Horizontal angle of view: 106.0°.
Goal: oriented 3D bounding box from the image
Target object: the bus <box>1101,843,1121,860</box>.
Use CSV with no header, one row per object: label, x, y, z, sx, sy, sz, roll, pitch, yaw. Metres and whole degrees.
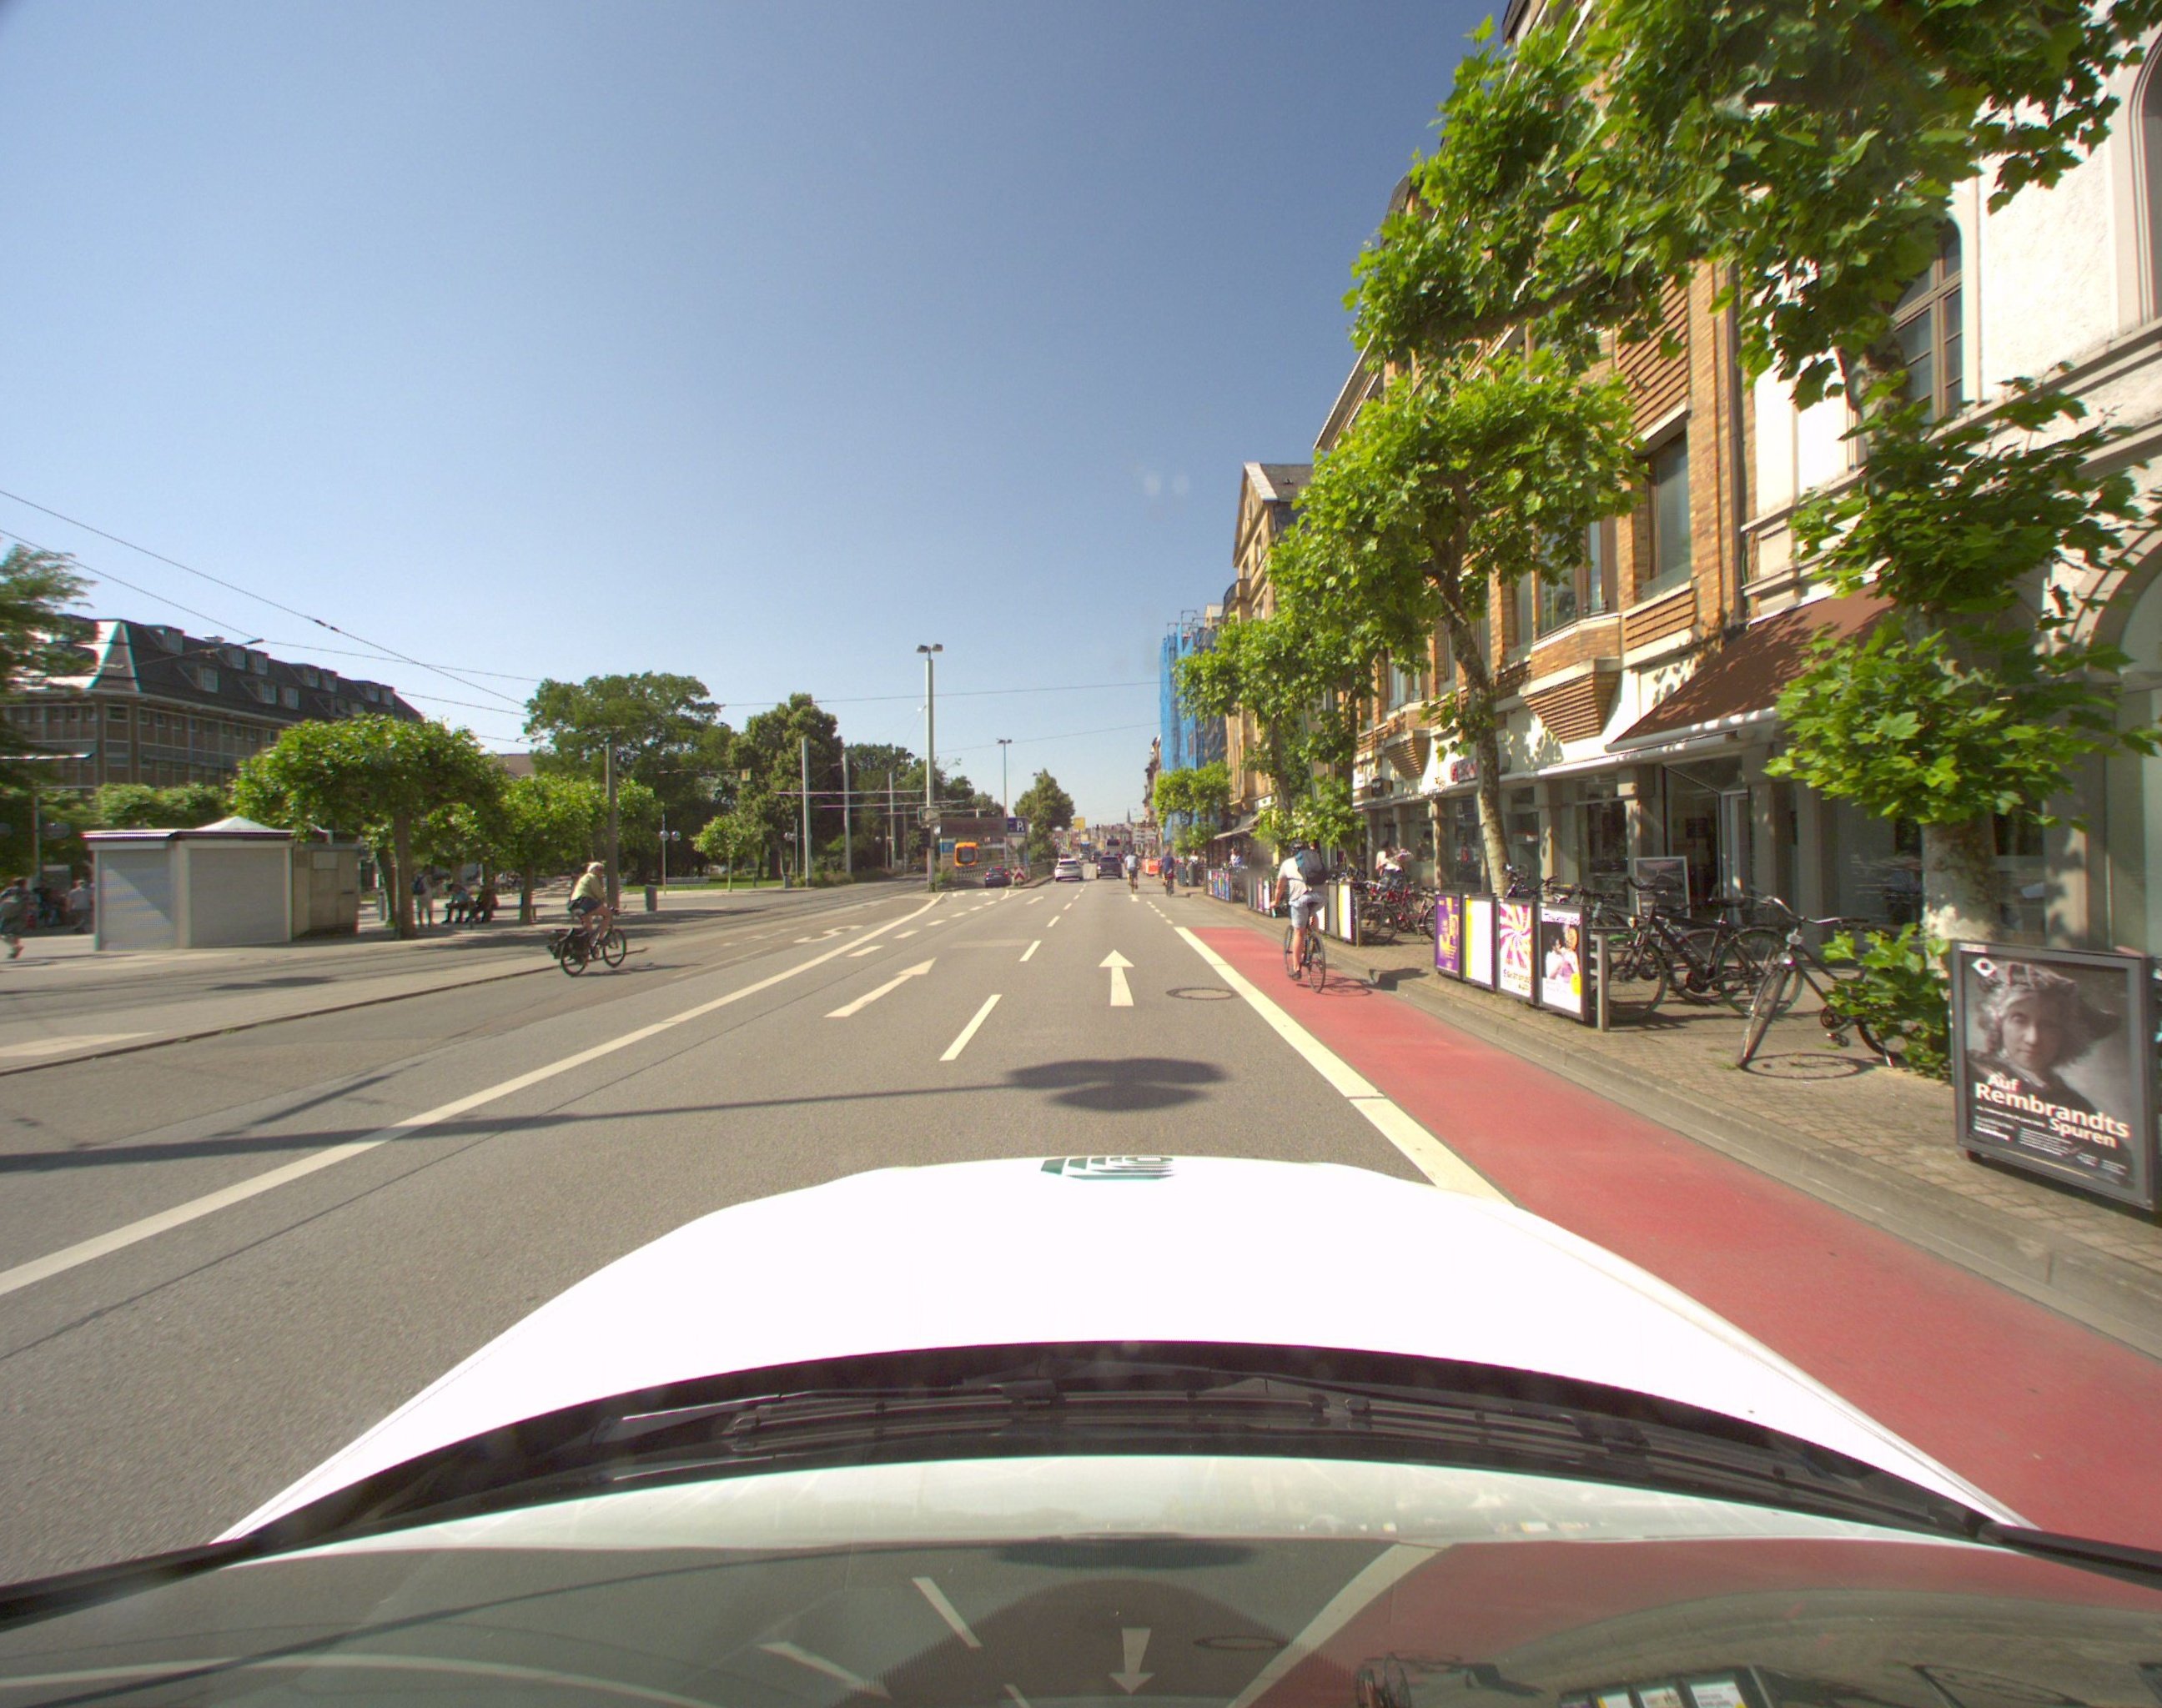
bus,4.838,-0.361,132.358,2.960,2.776,8.639,1,0,0

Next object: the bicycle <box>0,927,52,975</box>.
bicycle,-21.466,1.883,15.820,1.866,0.869,0.579,1,-1,-12

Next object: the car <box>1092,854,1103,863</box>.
car,2.260,0.631,113.956,1.447,1.301,3.340,1,0,-1

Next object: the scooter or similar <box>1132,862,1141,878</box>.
scooter or similar,4.196,1.232,61.758,0.685,1.167,1.464,1,0,2

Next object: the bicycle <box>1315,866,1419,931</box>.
bicycle,5.271,0.807,15.074,1.747,1.147,0.482,-1,-1,-1

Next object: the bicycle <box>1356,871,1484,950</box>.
bicycle,5.178,0.847,12.500,1.747,1.147,0.499,-1,-1,-1

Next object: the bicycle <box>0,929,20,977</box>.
bicycle,-21.356,1.881,15.246,1.866,0.869,0.579,1,-1,-12

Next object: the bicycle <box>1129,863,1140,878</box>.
bicycle,3.815,1.179,58.291,0.731,1.093,1.898,1,0,1

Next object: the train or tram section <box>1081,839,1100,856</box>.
train or tram section,2.276,-1.478,190.865,2.805,3.581,10.060,0,0,10

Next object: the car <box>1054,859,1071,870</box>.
car,-2.379,1.317,105.283,1.808,1.332,4.002,1,0,2

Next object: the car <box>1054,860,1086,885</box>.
car,-0.682,1.184,53.611,1.851,1.507,4.002,1,0,2

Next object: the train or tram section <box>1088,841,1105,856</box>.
train or tram section,3.797,-1.406,199.954,2.805,3.581,8.249,0,0,10

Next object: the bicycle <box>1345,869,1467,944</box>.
bicycle,5.196,0.826,13.060,1.747,1.147,0.482,-1,-1,-1

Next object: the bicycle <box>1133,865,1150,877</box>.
bicycle,6.126,1.734,82.519,1.764,1.178,0.609,0,-1,1

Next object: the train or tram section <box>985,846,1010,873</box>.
train or tram section,-11.400,0.781,111.957,2.604,3.581,6.018,1,0,1

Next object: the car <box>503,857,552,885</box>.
car,-66.775,2.016,98.405,2.119,3.316,5.420,1,0,1

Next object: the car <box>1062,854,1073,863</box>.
car,-2.106,0.746,129.511,1.446,1.301,4.002,1,0,2

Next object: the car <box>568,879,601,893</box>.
car,-61.045,3.907,100.159,1.752,1.508,3.994,1,0,-4

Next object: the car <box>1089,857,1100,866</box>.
car,2.104,1.152,125.184,1.448,1.301,3.339,1,0,-2

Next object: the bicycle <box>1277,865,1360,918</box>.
bicycle,5.387,0.839,18.508,1.747,1.147,0.482,-1,-1,-1

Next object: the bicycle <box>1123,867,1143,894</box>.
bicycle,2.195,1.103,34.668,0.731,1.093,1.897,1,0,0

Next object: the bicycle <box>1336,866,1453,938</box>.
bicycle,5.206,0.787,13.563,1.747,1.147,0.482,-1,-1,-1

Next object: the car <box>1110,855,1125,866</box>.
car,5.152,0.910,114.308,1.986,1.492,4.002,1,0,2

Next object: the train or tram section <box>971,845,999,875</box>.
train or tram section,-11.655,0.703,99.435,2.604,3.581,5.358,1,0,1

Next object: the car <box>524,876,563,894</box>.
car,-63.047,3.646,95.591,1.986,2.014,3.644,1,0,1

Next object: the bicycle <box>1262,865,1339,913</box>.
bicycle,5.393,0.855,20.029,1.747,1.147,0.482,-1,-1,-1

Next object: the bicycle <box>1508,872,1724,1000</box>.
bicycle,5.102,0.767,7.810,1.747,1.147,0.482,-1,-1,-1

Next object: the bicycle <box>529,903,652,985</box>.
bicycle,-8.115,1.453,13.594,0.814,1.120,1.875,-4,-1,2

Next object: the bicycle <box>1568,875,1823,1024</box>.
bicycle,5.042,0.766,6.730,1.747,1.147,0.482,-1,-1,-1

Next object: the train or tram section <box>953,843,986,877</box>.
train or tram section,-11.913,0.630,87.616,2.604,3.581,6.104,1,0,1

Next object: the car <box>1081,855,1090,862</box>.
car,0.810,0.759,144.334,1.446,1.301,4.002,1,0,2

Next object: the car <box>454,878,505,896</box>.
car,-60.062,3.276,81.462,1.752,1.663,4.836,1,0,-4

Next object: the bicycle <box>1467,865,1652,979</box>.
bicycle,5.250,0.732,8.974,1.747,1.187,0.482,-1,-1,-1

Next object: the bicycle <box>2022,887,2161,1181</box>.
bicycle,5.177,0.718,3.485,1.747,1.147,0.482,-1,-1,-1

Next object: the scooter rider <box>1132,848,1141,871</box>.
scooter rider,4.222,0.434,61.804,0.685,1.729,0.778,1,-1,2

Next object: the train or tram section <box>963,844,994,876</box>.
train or tram section,-11.784,0.667,93.696,2.604,3.581,6.104,1,0,1

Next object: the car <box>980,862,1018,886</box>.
car,-5.433,1.272,54.328,1.986,1.508,4.002,1,0,2

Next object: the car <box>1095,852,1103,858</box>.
car,3.562,0.194,161.568,1.447,1.301,3.341,1,0,0

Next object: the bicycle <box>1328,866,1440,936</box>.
bicycle,5.212,0.797,14.063,1.747,1.147,0.482,-1,-1,-1

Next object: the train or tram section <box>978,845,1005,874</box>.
train or tram section,-11.524,0.741,105.560,2.604,3.581,6.899,1,0,1

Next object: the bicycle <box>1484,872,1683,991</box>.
bicycle,5.141,0.776,8.380,1.747,1.147,0.482,-1,-1,-1

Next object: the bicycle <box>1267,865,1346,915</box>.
bicycle,5.393,0.852,19.533,1.747,1.147,0.482,-1,-1,-1

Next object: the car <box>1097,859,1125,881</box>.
car,2.085,1.072,56.002,1.866,1.492,4.002,1,0,2

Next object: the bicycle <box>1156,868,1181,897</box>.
bicycle,3.382,1.094,31.630,0.731,1.093,1.911,1,0,0

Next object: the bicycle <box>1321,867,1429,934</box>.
bicycle,5.237,0.824,14.565,1.747,1.147,0.482,-1,-1,-1

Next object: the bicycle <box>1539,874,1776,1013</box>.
bicycle,5.116,0.776,7.277,1.747,1.147,0.527,-1,-1,-1

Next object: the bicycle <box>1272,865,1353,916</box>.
bicycle,5.396,0.840,19.031,1.747,1.147,0.482,-1,-1,-1

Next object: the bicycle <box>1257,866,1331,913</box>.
bicycle,5.372,0.888,20.572,1.747,1.147,0.482,-1,-1,-1

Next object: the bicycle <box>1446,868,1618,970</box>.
bicycle,5.272,0.750,9.556,1.747,1.123,0.482,-1,-1,-1
